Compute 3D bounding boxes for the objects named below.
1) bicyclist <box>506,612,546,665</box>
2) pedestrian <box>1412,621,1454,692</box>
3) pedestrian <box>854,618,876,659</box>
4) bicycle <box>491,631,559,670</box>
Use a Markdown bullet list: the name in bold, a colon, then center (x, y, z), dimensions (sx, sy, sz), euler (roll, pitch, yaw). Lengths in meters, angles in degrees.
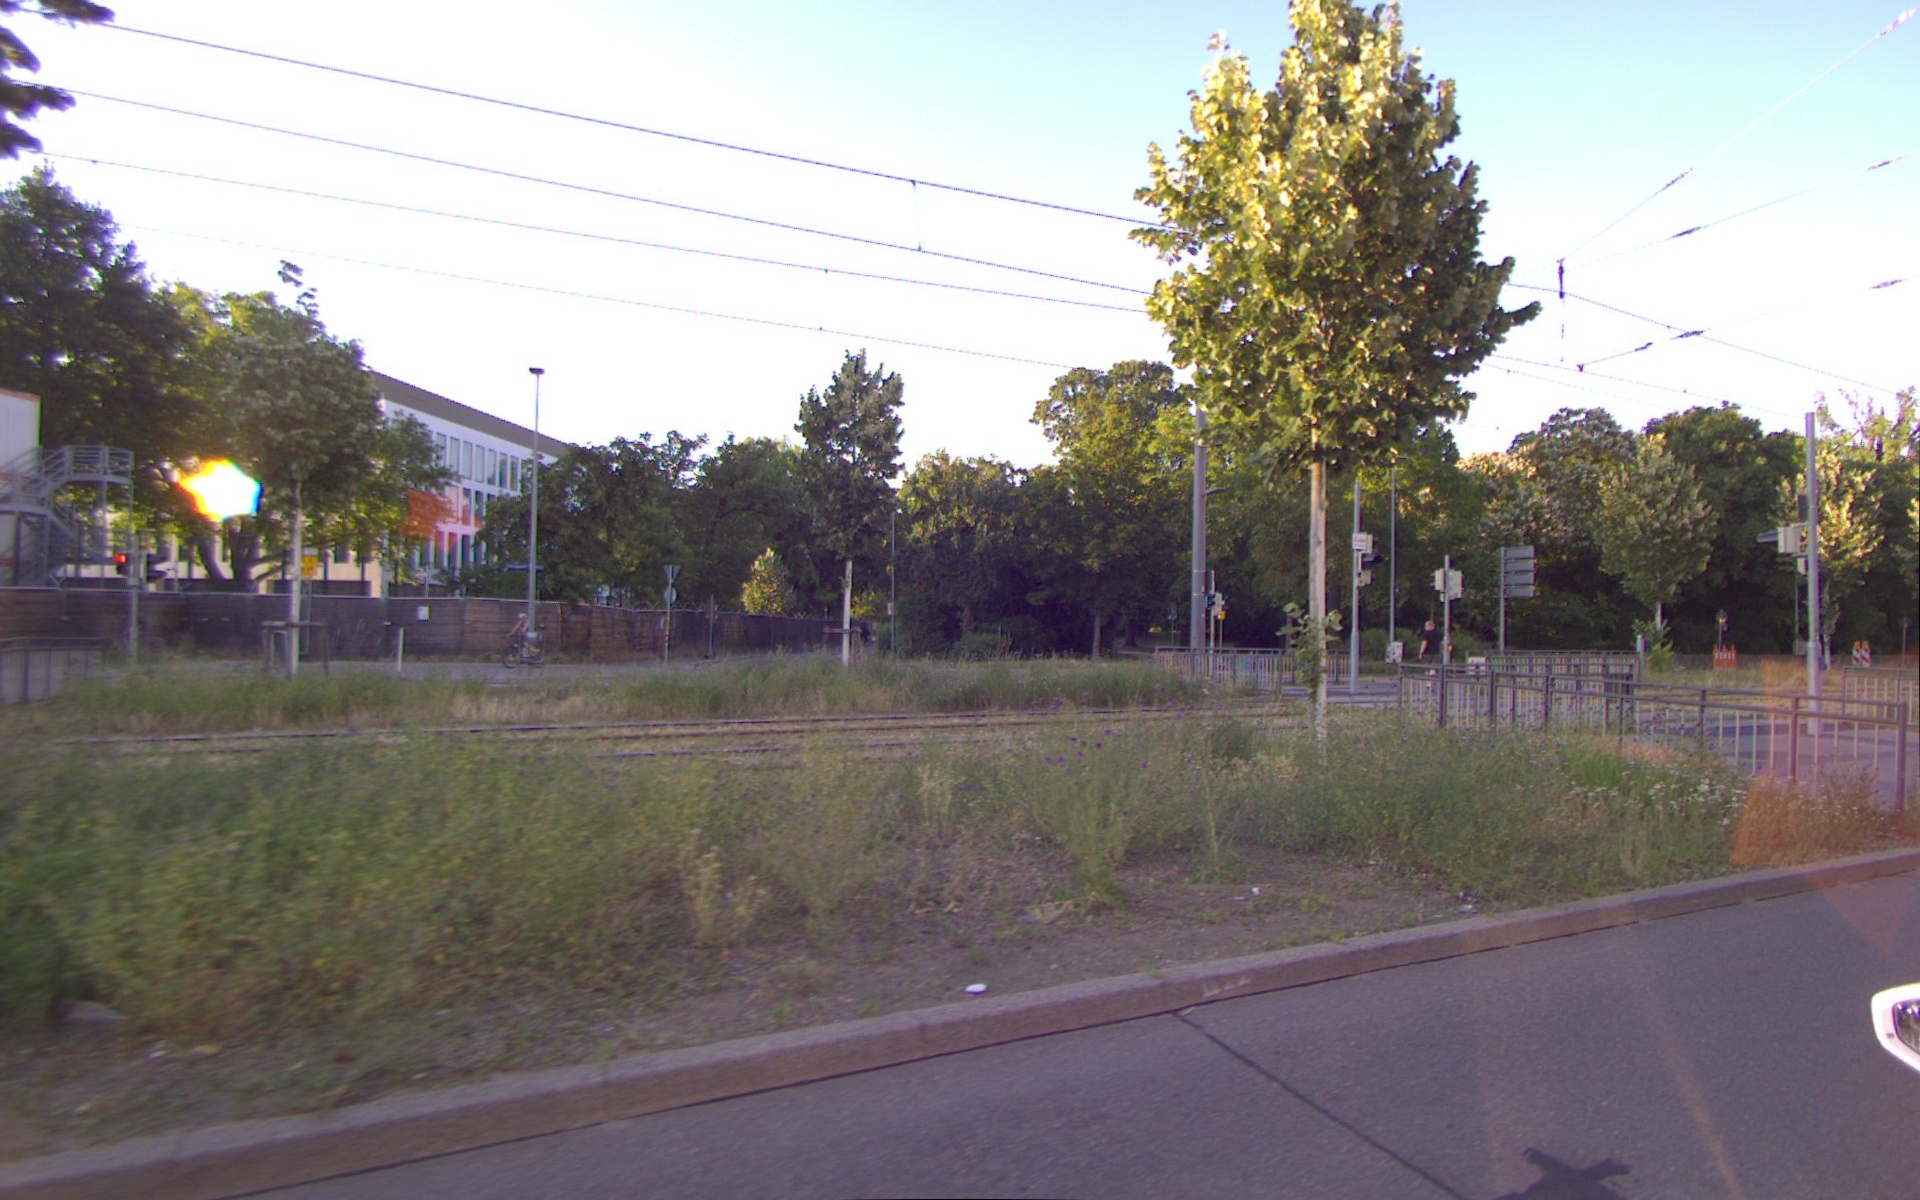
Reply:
- **bicyclist**: center (-13.965, 1.217, 32.315), dimensions (0.705, 1.642, 0.942), euler (2, 1, 34)
- **pedestrian**: center (11.442, 1.359, 24.307), dimensions (0.664, 1.629, 0.671), euler (-2, 2, 0)
- **pedestrian**: center (-4.653, 1.876, 49.124), dimensions (0.915, 1.911, 1.039), euler (2, 1, 2)
- **bicycle**: center (-13.976, 1.597, 32.324), dimensions (0.705, 1.148, 1.893), euler (2, 1, 34)
